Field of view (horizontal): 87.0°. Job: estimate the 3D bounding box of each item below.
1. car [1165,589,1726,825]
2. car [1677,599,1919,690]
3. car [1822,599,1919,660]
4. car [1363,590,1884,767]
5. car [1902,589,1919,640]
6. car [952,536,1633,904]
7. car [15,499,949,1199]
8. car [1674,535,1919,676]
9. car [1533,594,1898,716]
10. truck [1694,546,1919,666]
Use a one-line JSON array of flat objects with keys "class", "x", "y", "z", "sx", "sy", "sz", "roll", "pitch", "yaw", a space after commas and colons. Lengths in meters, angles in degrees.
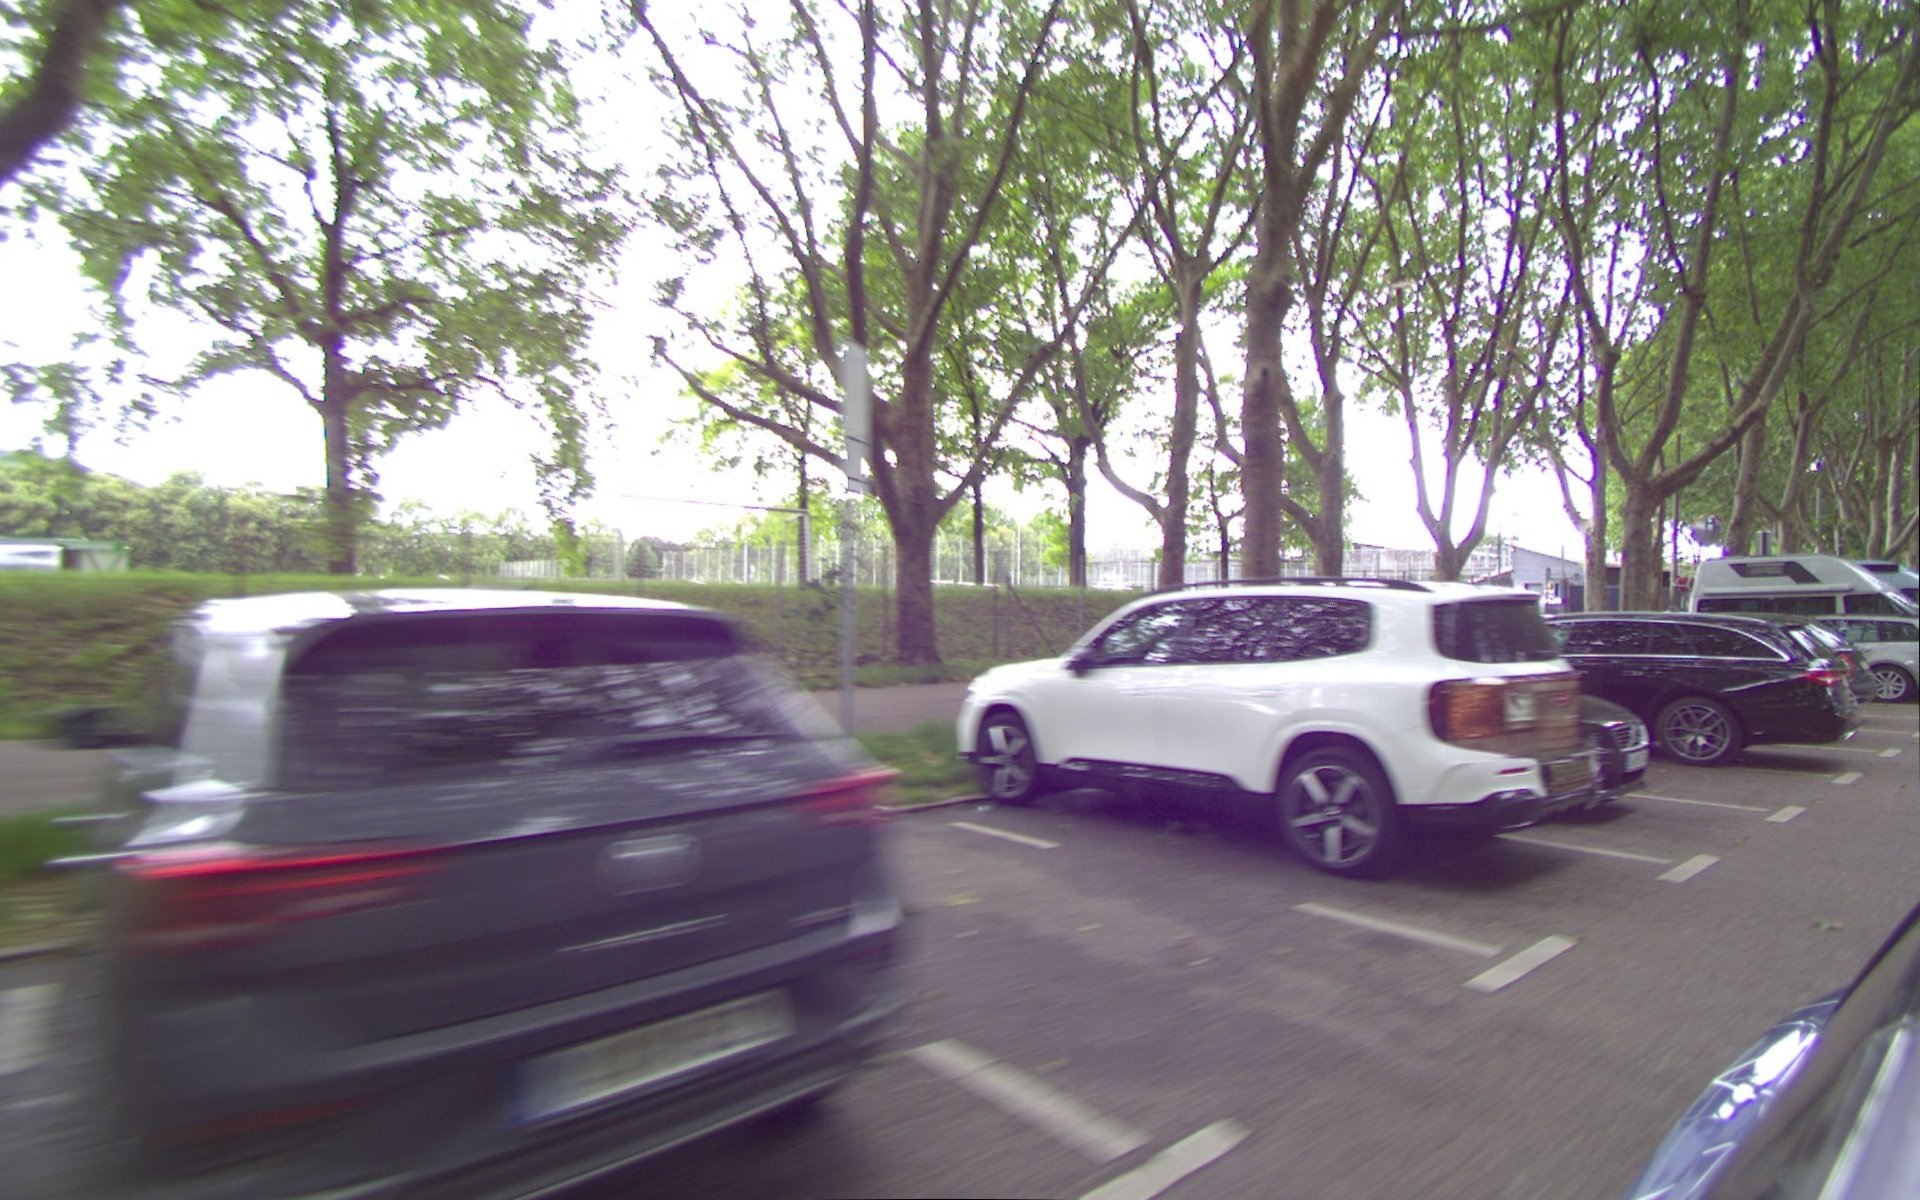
[{"class": "car", "x": 3.961, "y": 0.723, "z": 8.957, "sx": 1.668, "sy": 1.577, "sz": 4.197, "roll": 0, "pitch": 0, "yaw": -36}, {"class": "car", "x": 15.165, "y": 0.751, "z": 17.525, "sx": 1.672, "sy": 1.447, "sz": 4.128, "roll": 0, "pitch": -2, "yaw": -38}, {"class": "car", "x": 26.333, "y": 0.780, "z": 27.332, "sx": 1.770, "sy": 1.639, "sz": 4.351, "roll": 0, "pitch": -1, "yaw": -37}, {"class": "car", "x": 6.994, "y": 0.704, "z": 11.113, "sx": 1.673, "sy": 1.545, "sz": 4.508, "roll": 0, "pitch": -1, "yaw": -41}, {"class": "car", "x": 54.112, "y": 0.743, "z": 52.981, "sx": 6.873, "sy": 2.729, "sz": 2.096, "roll": 0, "pitch": -1, "yaw": 41}, {"class": "car", "x": 1.952, "y": 0.595, "z": 7.208, "sx": 1.767, "sy": 1.777, "sz": 4.396, "roll": 0, "pitch": -1, "yaw": -37}, {"class": "car", "x": -1.953, "y": 0.625, "z": 3.428, "sx": 1.665, "sy": 1.505, "sz": 3.993, "roll": 0, "pitch": 0, "yaw": -41}, {"class": "car", "x": 18.483, "y": 0.129, "z": 21.338, "sx": 1.922, "sy": 2.724, "sz": 5.239, "roll": 0, "pitch": -1, "yaw": -39}, {"class": "car", "x": 11.013, "y": 0.709, "z": 14.982, "sx": 1.783, "sy": 1.545, "sz": 4.050, "roll": 0, "pitch": -1, "yaw": -41}, {"class": "truck", "x": 22.127, "y": 0.147, "z": 24.858, "sx": 2.059, "sy": 2.750, "sz": 6.309, "roll": 0, "pitch": -1, "yaw": -38}]
